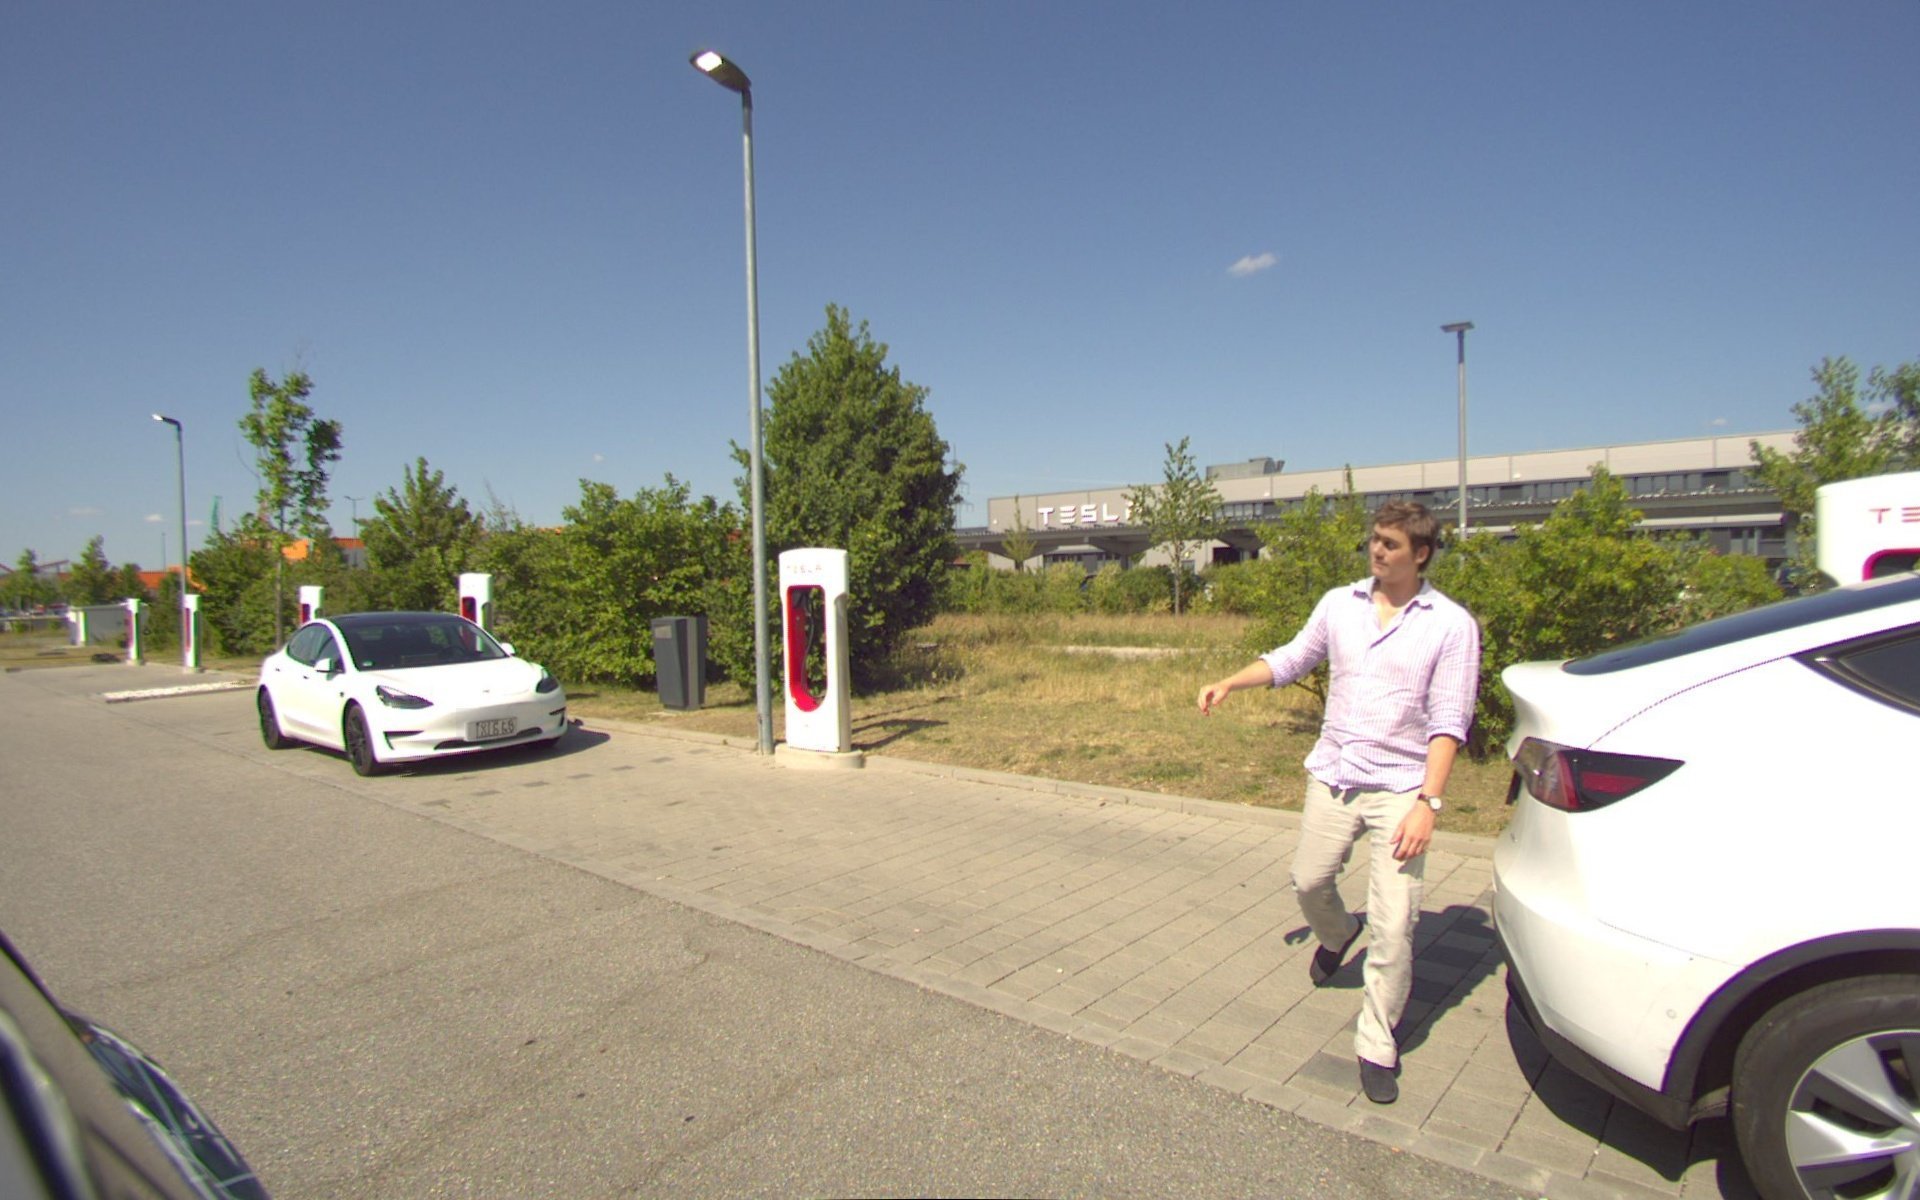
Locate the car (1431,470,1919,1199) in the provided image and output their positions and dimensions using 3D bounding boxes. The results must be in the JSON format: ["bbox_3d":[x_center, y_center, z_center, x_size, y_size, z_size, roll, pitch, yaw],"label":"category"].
[{"bbox_3d":[3.509,0.499,1.832,4.485,1.612,1.846,-1,1,40],"label":"car"}]

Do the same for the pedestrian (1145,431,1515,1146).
[{"bbox_3d":[1.195,0.471,3.194,0.736,1.814,1.022,-2,0,41],"label":"pedestrian"}]

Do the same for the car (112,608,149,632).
[{"bbox_3d":[-74.182,1.817,90.484,3.999,2.029,1.973,-2,0,42],"label":"car"}]

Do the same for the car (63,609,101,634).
[{"bbox_3d":[-76.067,1.873,87.707,3.999,2.029,1.973,-2,0,42],"label":"car"}]

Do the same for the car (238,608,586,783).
[{"bbox_3d":[-5.875,0.843,10.589,4.447,1.388,1.797,-1,1,42],"label":"car"}]
